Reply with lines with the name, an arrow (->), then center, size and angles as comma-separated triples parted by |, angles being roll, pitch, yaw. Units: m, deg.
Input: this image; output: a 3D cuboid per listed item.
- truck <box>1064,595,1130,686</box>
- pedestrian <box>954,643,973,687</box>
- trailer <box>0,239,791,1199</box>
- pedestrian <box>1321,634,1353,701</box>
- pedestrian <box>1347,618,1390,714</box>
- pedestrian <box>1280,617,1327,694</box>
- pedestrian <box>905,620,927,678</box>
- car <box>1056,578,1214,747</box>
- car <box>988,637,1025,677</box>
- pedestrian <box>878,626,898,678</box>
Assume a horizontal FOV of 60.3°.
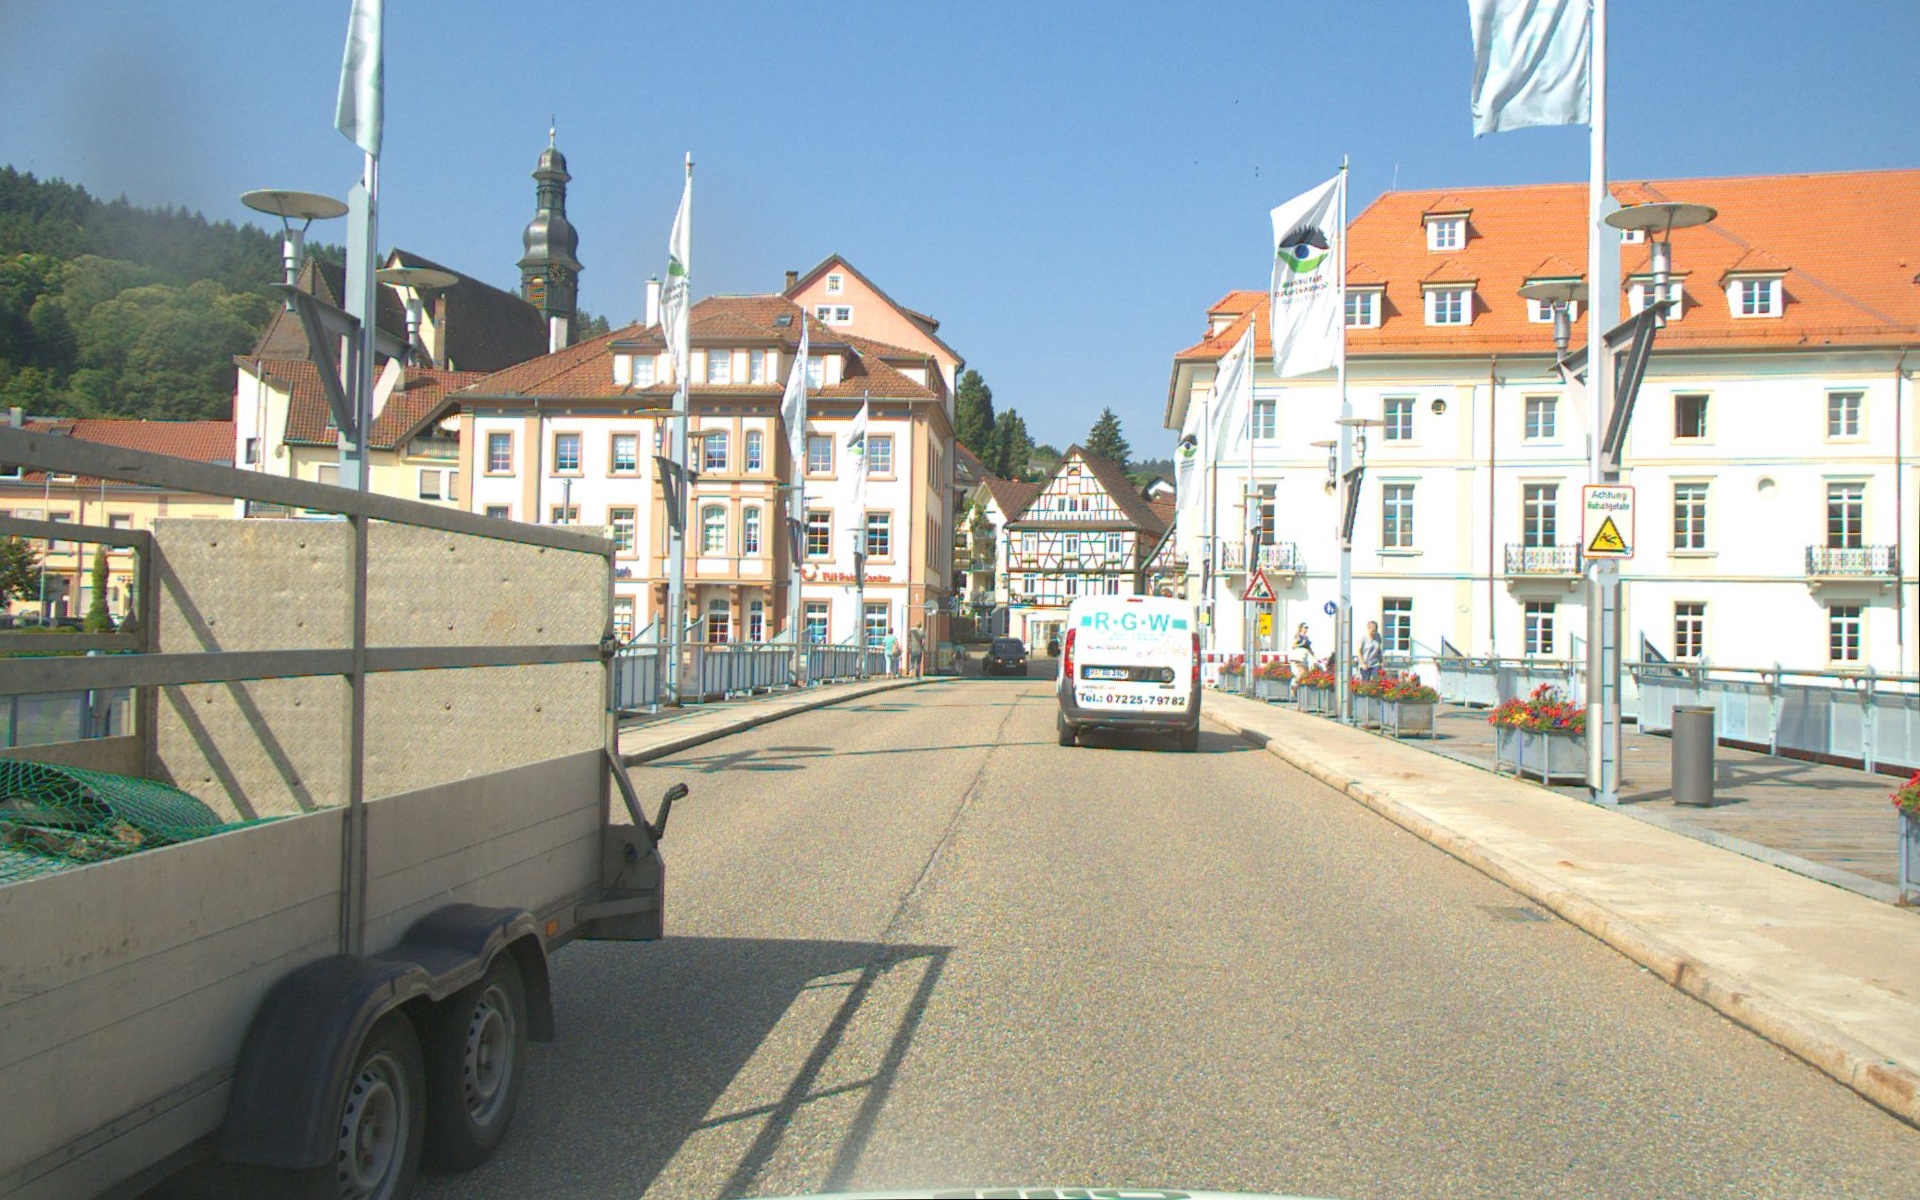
truck -> 4.170, 1.259, 50.888 | 1.822, 2.631, 4.261 | 2, -2, 3
pedestrian -> 0.162, 2.824, 71.995 | 0.786, 1.890, 0.616 | 1, -1, 2
trailer -> -2.280, 0.476, 3.734 | 2.555, 1.860, 5.642 | 1, 0, 7
pedestrian -> 7.249, 1.301, 31.799 | 0.442, 1.266, 0.626 | 1, -2, -2
pedestrian -> 7.147, 1.146, 28.940 | 0.651, 1.647, 0.564 | 1, -1, 10
pedestrian -> 7.930, 1.273, 38.170 | 0.720, 1.753, 0.737 | 2, -1, -37
pedestrian -> -1.396, 1.555, 52.465 | 0.602, 1.793, 0.864 | 2, -1, 1
car -> 2.204, 0.805, 21.834 | 1.806, 1.939, 4.316 | 2, -2, 3
car -> 2.346, 2.801, 82.548 | 1.740, 1.824, 4.697 | 2, -1, 2
pedestrian -> -2.285, 1.644, 52.561 | 0.571, 1.638, 0.537 | 2, -1, 0
